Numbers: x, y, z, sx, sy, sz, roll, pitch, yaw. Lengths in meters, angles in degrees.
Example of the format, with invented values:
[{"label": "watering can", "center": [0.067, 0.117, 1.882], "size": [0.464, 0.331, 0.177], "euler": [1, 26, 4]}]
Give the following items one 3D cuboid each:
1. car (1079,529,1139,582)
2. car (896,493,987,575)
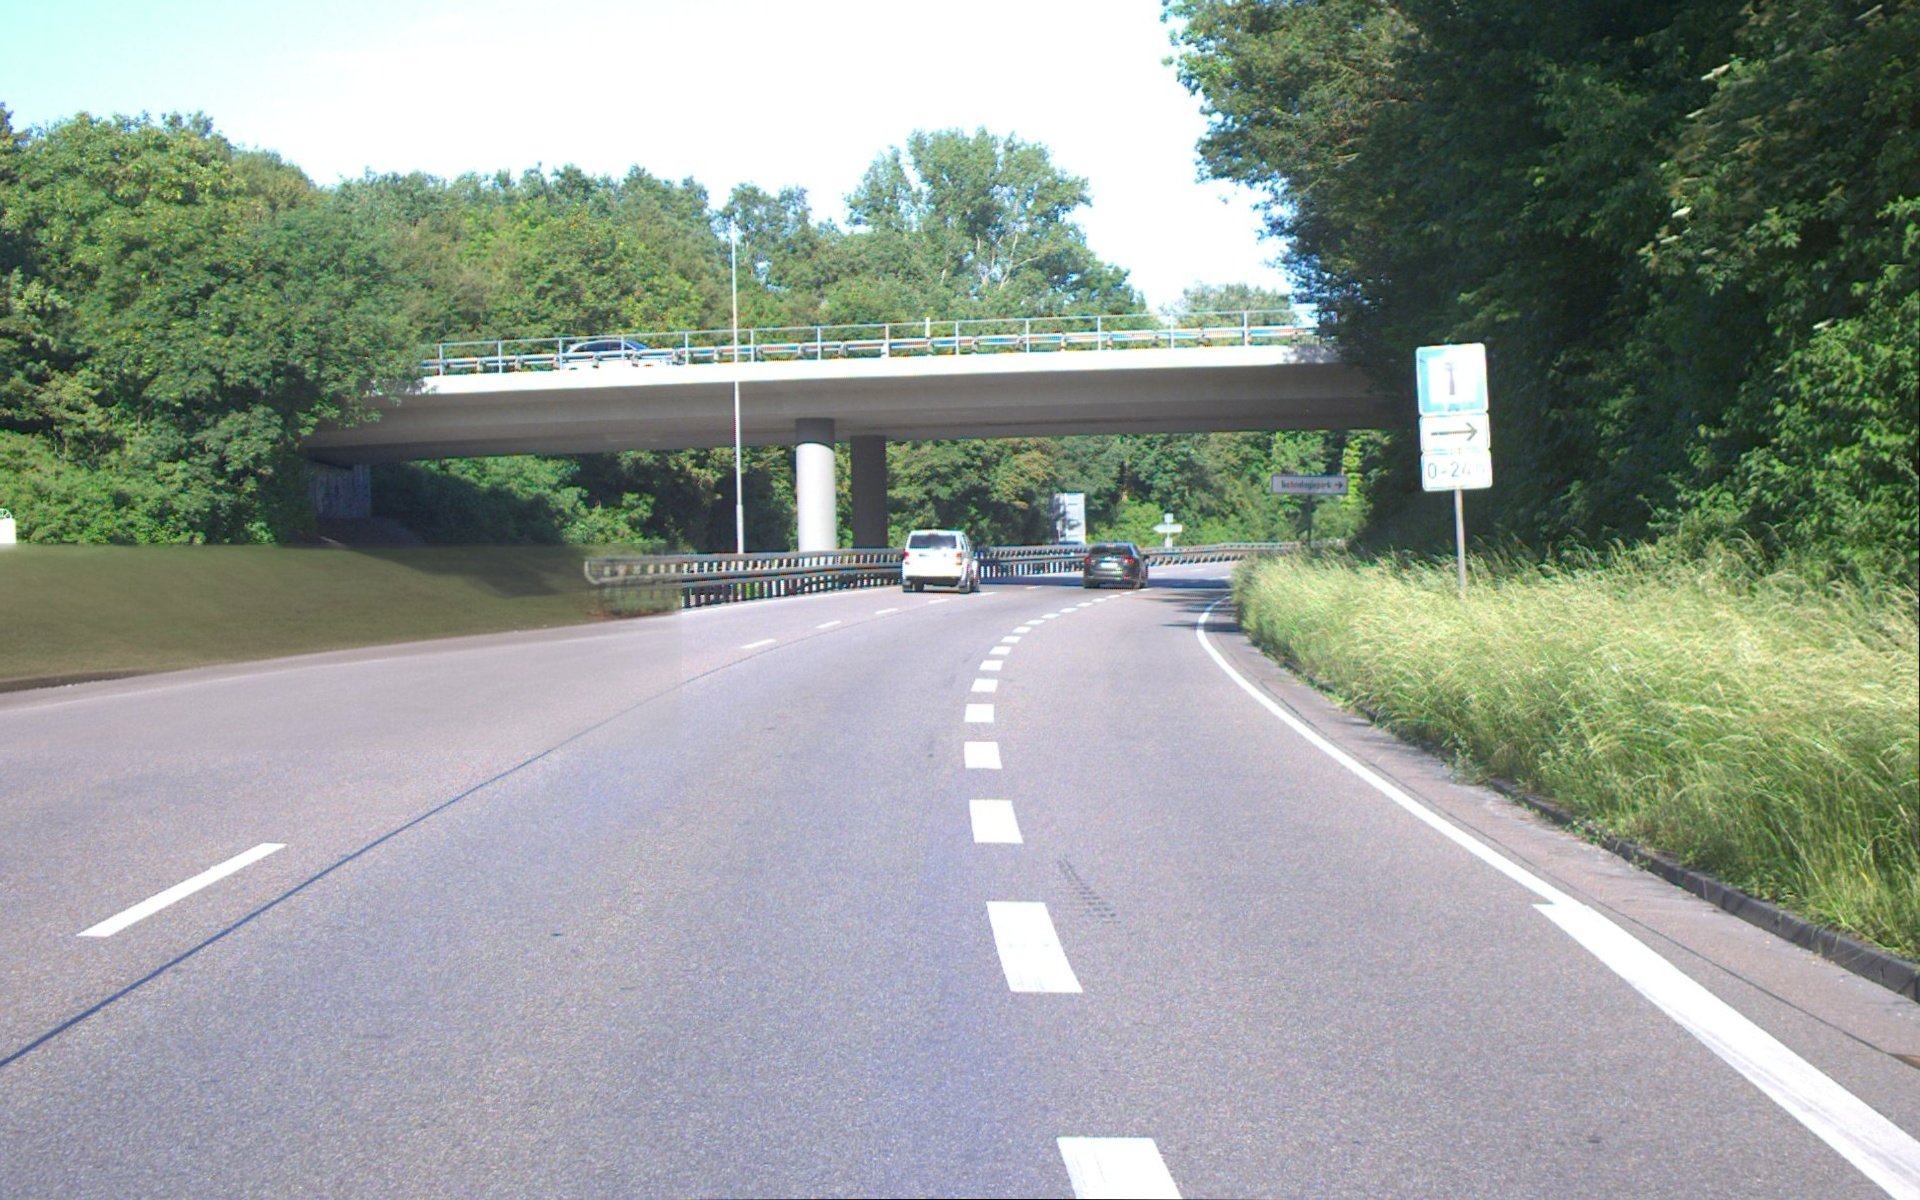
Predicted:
[{"label": "car", "center": [4.799, -1.445, 110.150], "size": [1.739, 1.656, 3.945], "euler": [0, 1, 5]}, {"label": "car", "center": [-0.507, -1.870, 97.354], "size": [1.994, 2.269, 3.999], "euler": [0, 1, 8]}]
